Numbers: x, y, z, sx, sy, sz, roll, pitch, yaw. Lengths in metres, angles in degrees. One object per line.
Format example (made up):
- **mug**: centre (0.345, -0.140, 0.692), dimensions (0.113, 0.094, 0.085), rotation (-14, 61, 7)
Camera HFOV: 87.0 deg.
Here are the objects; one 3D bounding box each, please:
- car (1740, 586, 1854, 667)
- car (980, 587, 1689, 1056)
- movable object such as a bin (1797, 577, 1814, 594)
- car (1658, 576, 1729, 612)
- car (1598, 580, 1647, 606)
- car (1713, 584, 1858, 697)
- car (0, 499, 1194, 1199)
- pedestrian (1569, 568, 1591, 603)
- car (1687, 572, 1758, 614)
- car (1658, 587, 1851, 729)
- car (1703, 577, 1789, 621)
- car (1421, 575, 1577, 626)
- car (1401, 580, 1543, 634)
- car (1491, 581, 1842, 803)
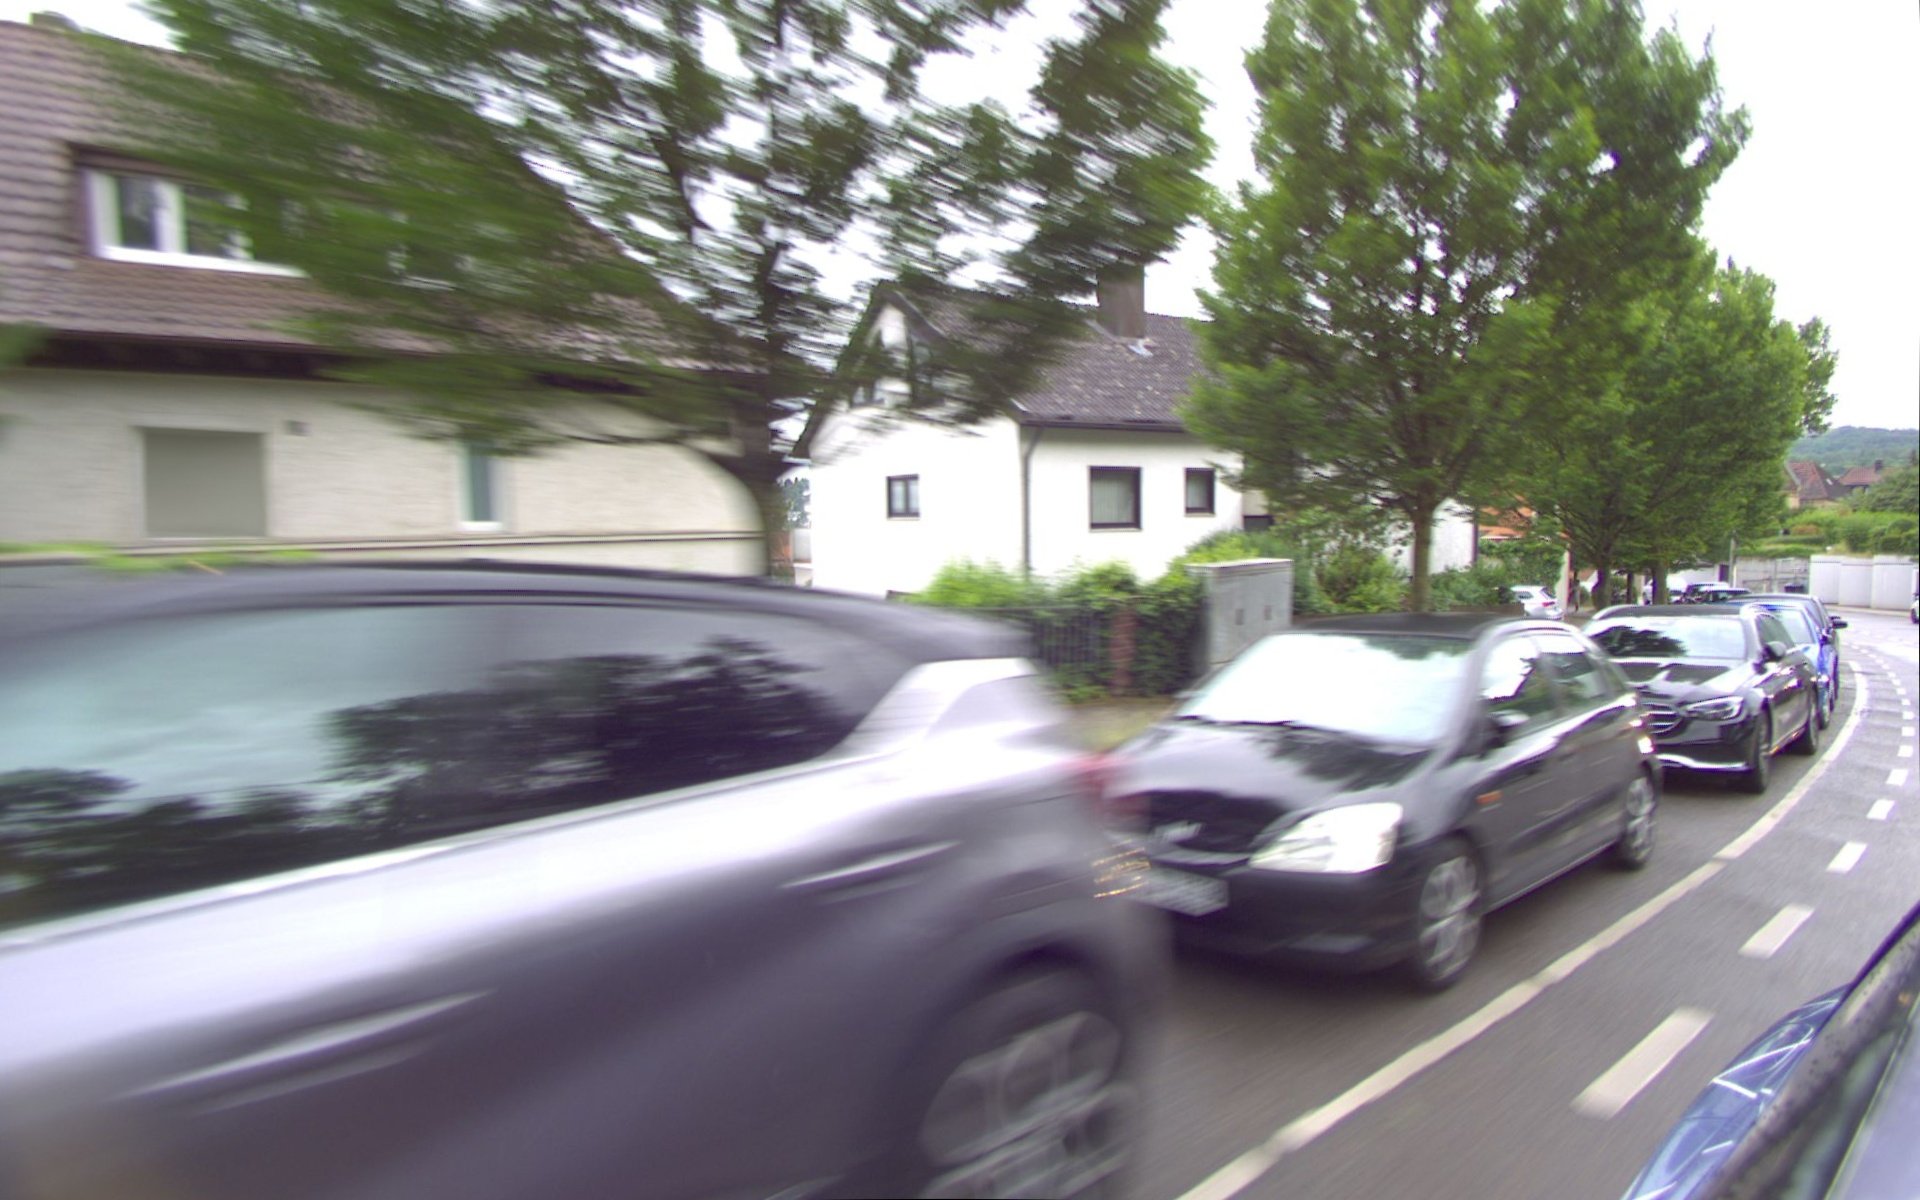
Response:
- **car**: centre (17.445, 0.499, 21.107), dimensions (1.666, 1.489, 3.656), rotation (-2, 0, 40)
- **car**: centre (2.206, 0.694, 5.218), dimensions (4.214, 1.442, 1.645), rotation (-1, -1, -42)
- **movable object such as a bin**: centre (52.345, -0.891, 62.665), dimensions (0.589, 1.004, 0.610), rotation (-2, 0, -29)
- **car**: centre (35.257, -0.318, 48.745), dimensions (1.841, 1.601, 4.817), rotation (0, 1, 25)
- **car**: centre (41.158, -0.463, 62.963), dimensions (1.641, 1.508, 3.974), rotation (-2, 0, 20)
- **car**: centre (13.148, 0.563, 16.073), dimensions (1.625, 1.582, 2.977), rotation (-1, 1, 42)
- **car**: centre (-1.583, 0.700, 1.707), dimensions (4.090, 1.576, 1.717), rotation (-1, -1, -40)
- **pedestrian**: centre (30.957, -0.732, 50.562), dimensions (0.755, 1.741, 0.895), rotation (2, 2, 25)
- **car**: centre (32.687, -0.328, 43.503), dimensions (2.045, 1.677, 5.175), rotation (0, 1, 33)
- **car**: centre (10.516, 0.636, 13.286), dimensions (1.653, 1.538, 3.938), rotation (-1, 0, 43)
- **car**: centre (29.815, -0.086, 38.530), dimensions (1.852, 1.487, 5.003), rotation (-3, 0, 30)
- **car**: centre (18.198, 0.036, 34.239), dimensions (4.298, 1.483, 1.907), rotation (-3, 2, 42)
- **car**: centre (16.299, 0.247, 32.298), dimensions (3.677, 1.483, 1.752), rotation (-4, 0, 43)
- **car**: centre (6.801, 0.642, 9.510), dimensions (4.649, 1.572, 1.777), rotation (-1, 0, -43)
